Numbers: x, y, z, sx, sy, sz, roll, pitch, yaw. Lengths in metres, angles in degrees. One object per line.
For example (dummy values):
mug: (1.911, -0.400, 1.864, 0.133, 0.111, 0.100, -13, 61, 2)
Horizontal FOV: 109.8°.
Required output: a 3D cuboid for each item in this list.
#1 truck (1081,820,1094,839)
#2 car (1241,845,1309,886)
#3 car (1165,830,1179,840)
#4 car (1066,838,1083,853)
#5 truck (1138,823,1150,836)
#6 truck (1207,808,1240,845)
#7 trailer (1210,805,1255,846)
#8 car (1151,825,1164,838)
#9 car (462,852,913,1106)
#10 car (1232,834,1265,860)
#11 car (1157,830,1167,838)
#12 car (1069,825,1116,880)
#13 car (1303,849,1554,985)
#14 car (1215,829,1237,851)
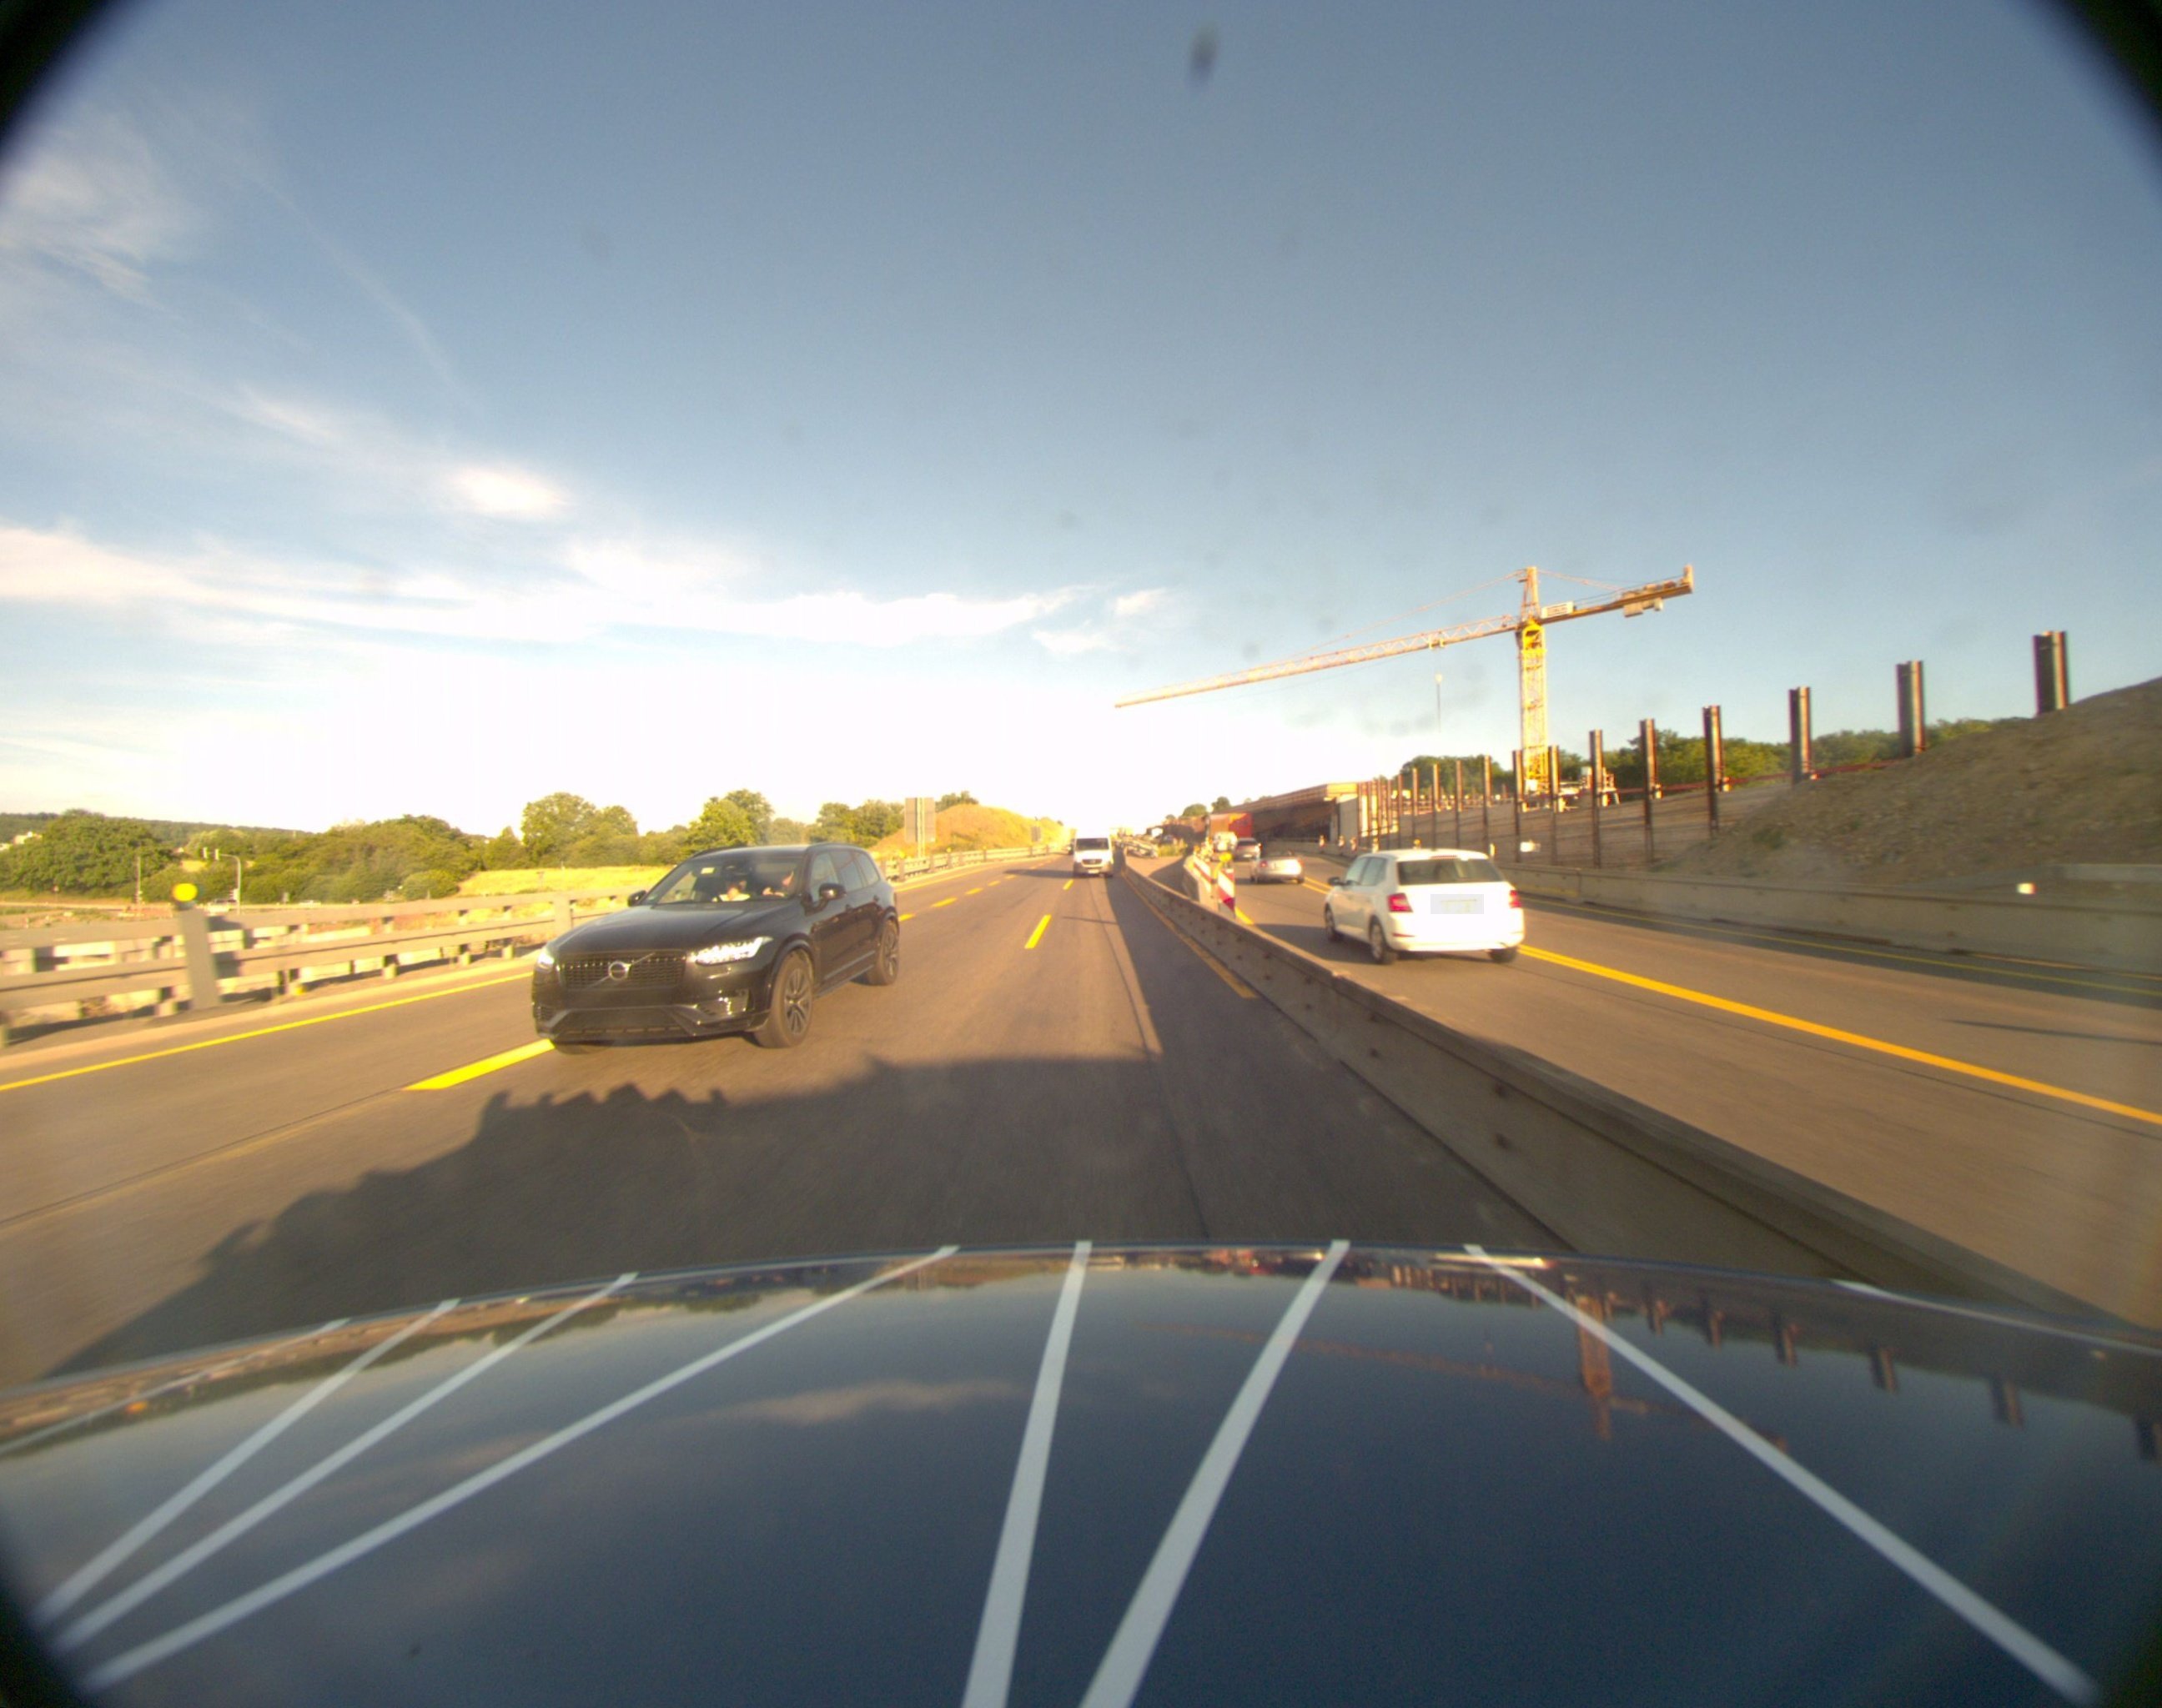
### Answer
truck: (1.355, -5.338, 163.897, 2.264, 3.705, 6.571, -5, 0, -1)
car: (7.544, 0.392, 29.974, 1.792, 1.350, 4.636, -3, 1, 5)
car: (15.710, -3.299, 131.182, 1.734, 1.592, 4.659, -2, 2, 1)
car: (-0.667, -0.922, 83.877, 1.791, 1.478, 3.998, -2, 2, 0)
truck: (19.059, -7.480, 229.739, 2.796, 3.705, 7.160, -2, 2, 0)
truck: (17.995, -3.469, 96.474, 2.590, 4.446, 8.329, -3, 2, 1)
trailer: (17.921, -3.331, 91.175, 2.590, 4.446, 14.132, -3, 2, 1)
car: (18.606, -5.540, 184.241, 2.334, 2.950, 6.159, -2, 2, -1)
car: (-3.284, 0.884, 7.742, 1.902, 1.703, 4.888, -2, 0, 1)
car: (11.620, -0.526, 52.966, 1.792, 1.610, 4.875, -3, 1, 8)
car: (15.895, -3.983, 149.295, 1.665, 1.383, 3.999, -6, 2, 3)
car: (0.593, -0.157, 38.067, 2.109, 2.519, 5.218, -2, 2, 1)
car: (4.585, 0.711, 10.791, 1.793, 1.480, 4.220, -2, 1, 3)
car: (14.355, -1.451, 75.391, 1.997, 2.002, 5.259, -3, 2, 10)
